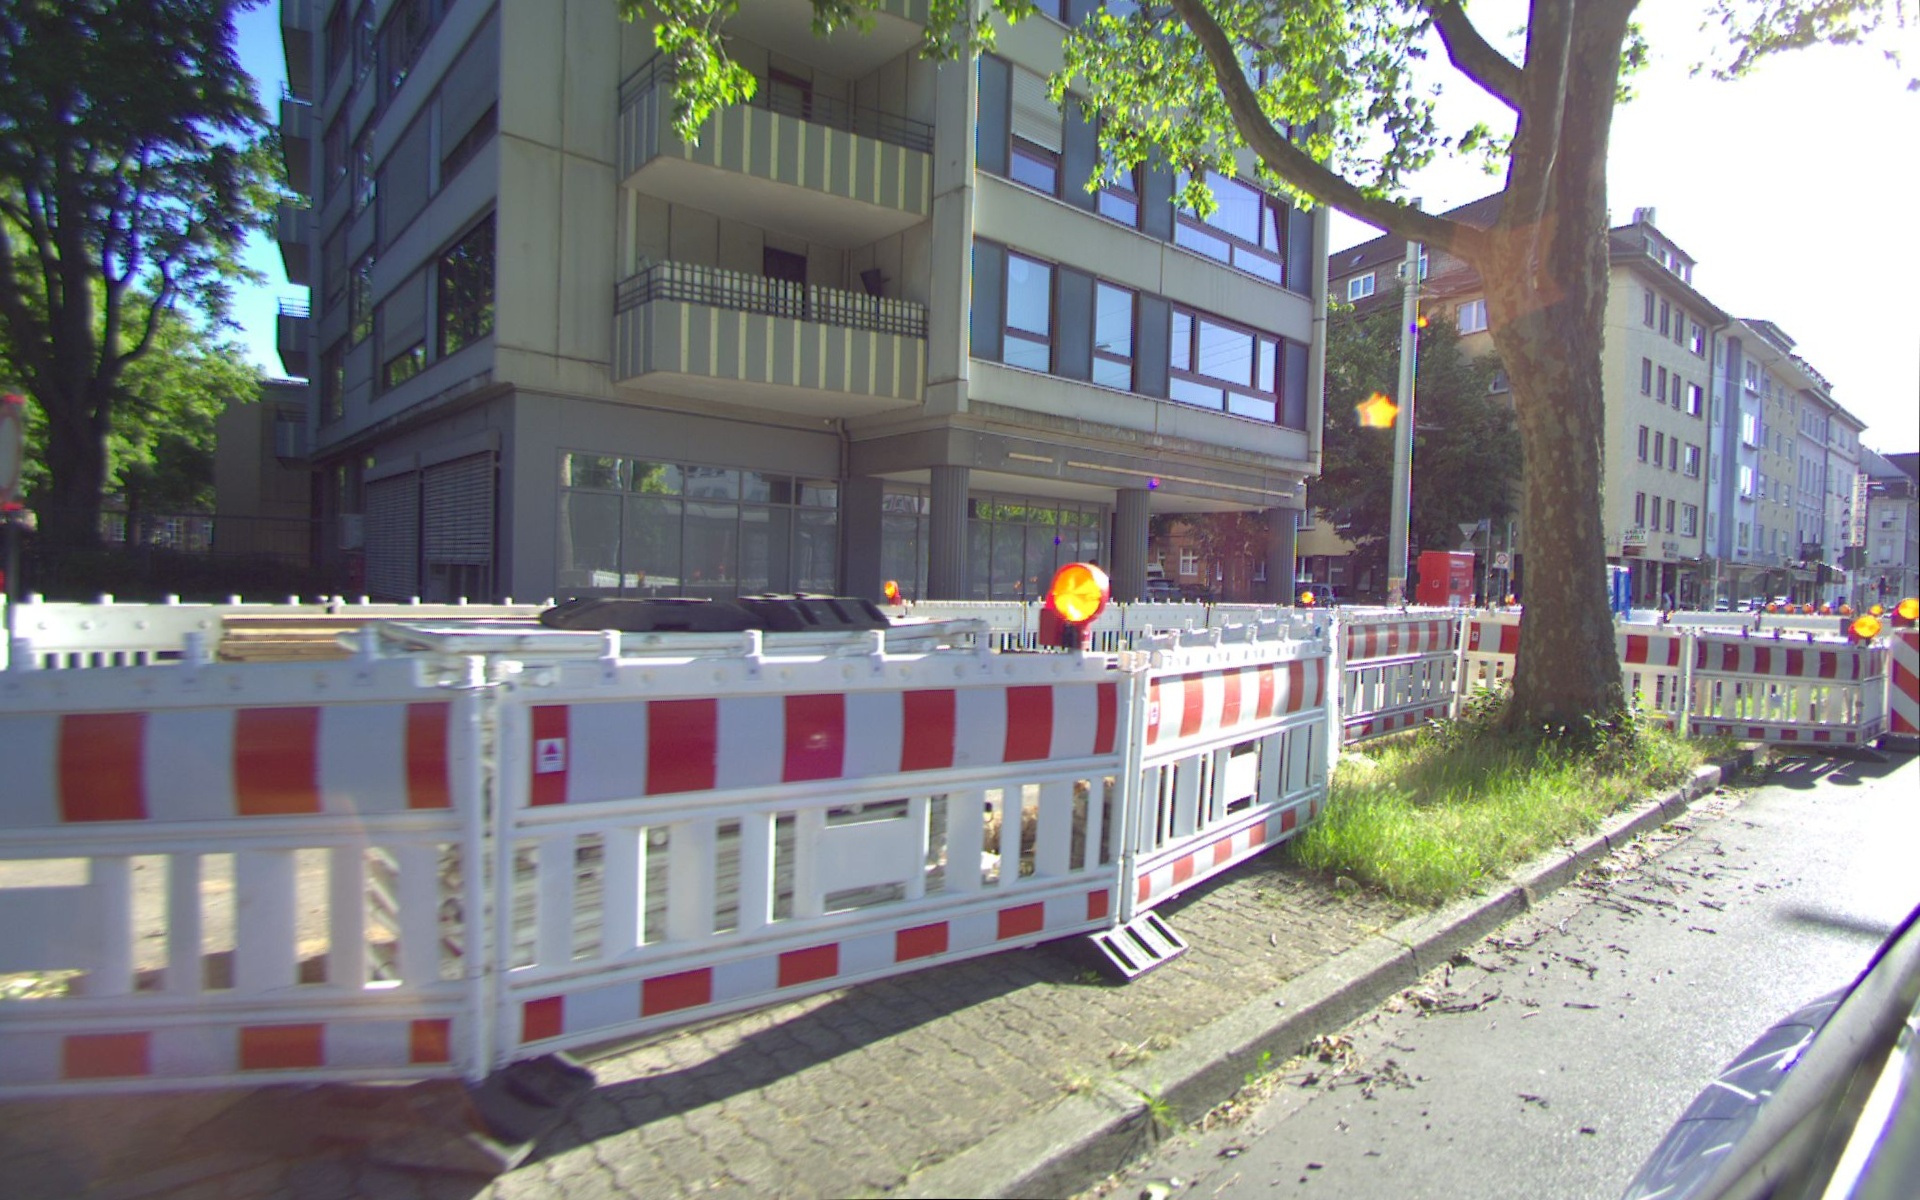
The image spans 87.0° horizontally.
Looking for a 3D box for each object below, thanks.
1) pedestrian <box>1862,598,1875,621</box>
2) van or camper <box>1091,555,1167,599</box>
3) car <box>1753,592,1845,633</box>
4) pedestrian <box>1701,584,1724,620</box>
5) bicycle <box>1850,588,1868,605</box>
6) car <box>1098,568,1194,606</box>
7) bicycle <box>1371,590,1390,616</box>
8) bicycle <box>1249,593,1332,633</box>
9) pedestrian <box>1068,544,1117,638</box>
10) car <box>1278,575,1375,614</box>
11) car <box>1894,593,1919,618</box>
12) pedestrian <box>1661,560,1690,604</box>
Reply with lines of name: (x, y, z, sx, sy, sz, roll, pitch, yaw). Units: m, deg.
pedestrian: (69.490, 0.717, 77.415, 0.665, 1.711, 0.663, 0, 1, -41)
van or camper: (10.375, -1.433, 62.614, 2.055, 2.579, 5.365, 1, 2, -23)
car: (32.661, 0.436, 39.348, 5.067, 1.460, 1.876, 0, 2, -40)
pedestrian: (32.623, 0.062, 43.879, 0.640, 1.525, 0.672, 0, 1, -41)
bicycle: (62.073, -0.276, 69.875, 0.692, 1.122, 1.842, 2, 2, 34)
car: (7.830, -0.580, 43.002, 1.949, 1.504, 4.388, 1, 2, -22)
bicycle: (18.246, 0.116, 43.928, 0.367, 1.096, 1.804, 2, 1, 35)
bicycle: (8.691, 0.331, 26.709, 0.996, 0.955, 2.039, 1, 1, -21)
pedestrian: (2.639, -0.190, 20.142, 0.654, 1.838, 0.691, 0, 1, -41)
car: (17.044, -0.279, 47.299, 1.958, 1.662, 4.258, 2, 1, -20)
car: (58.845, 0.315, 62.127, 4.636, 1.448, 1.901, 0, 0, -43)
pedestrian: (31.519, -0.789, 44.587, 0.884, 1.877, 0.731, 0, 3, -38)
